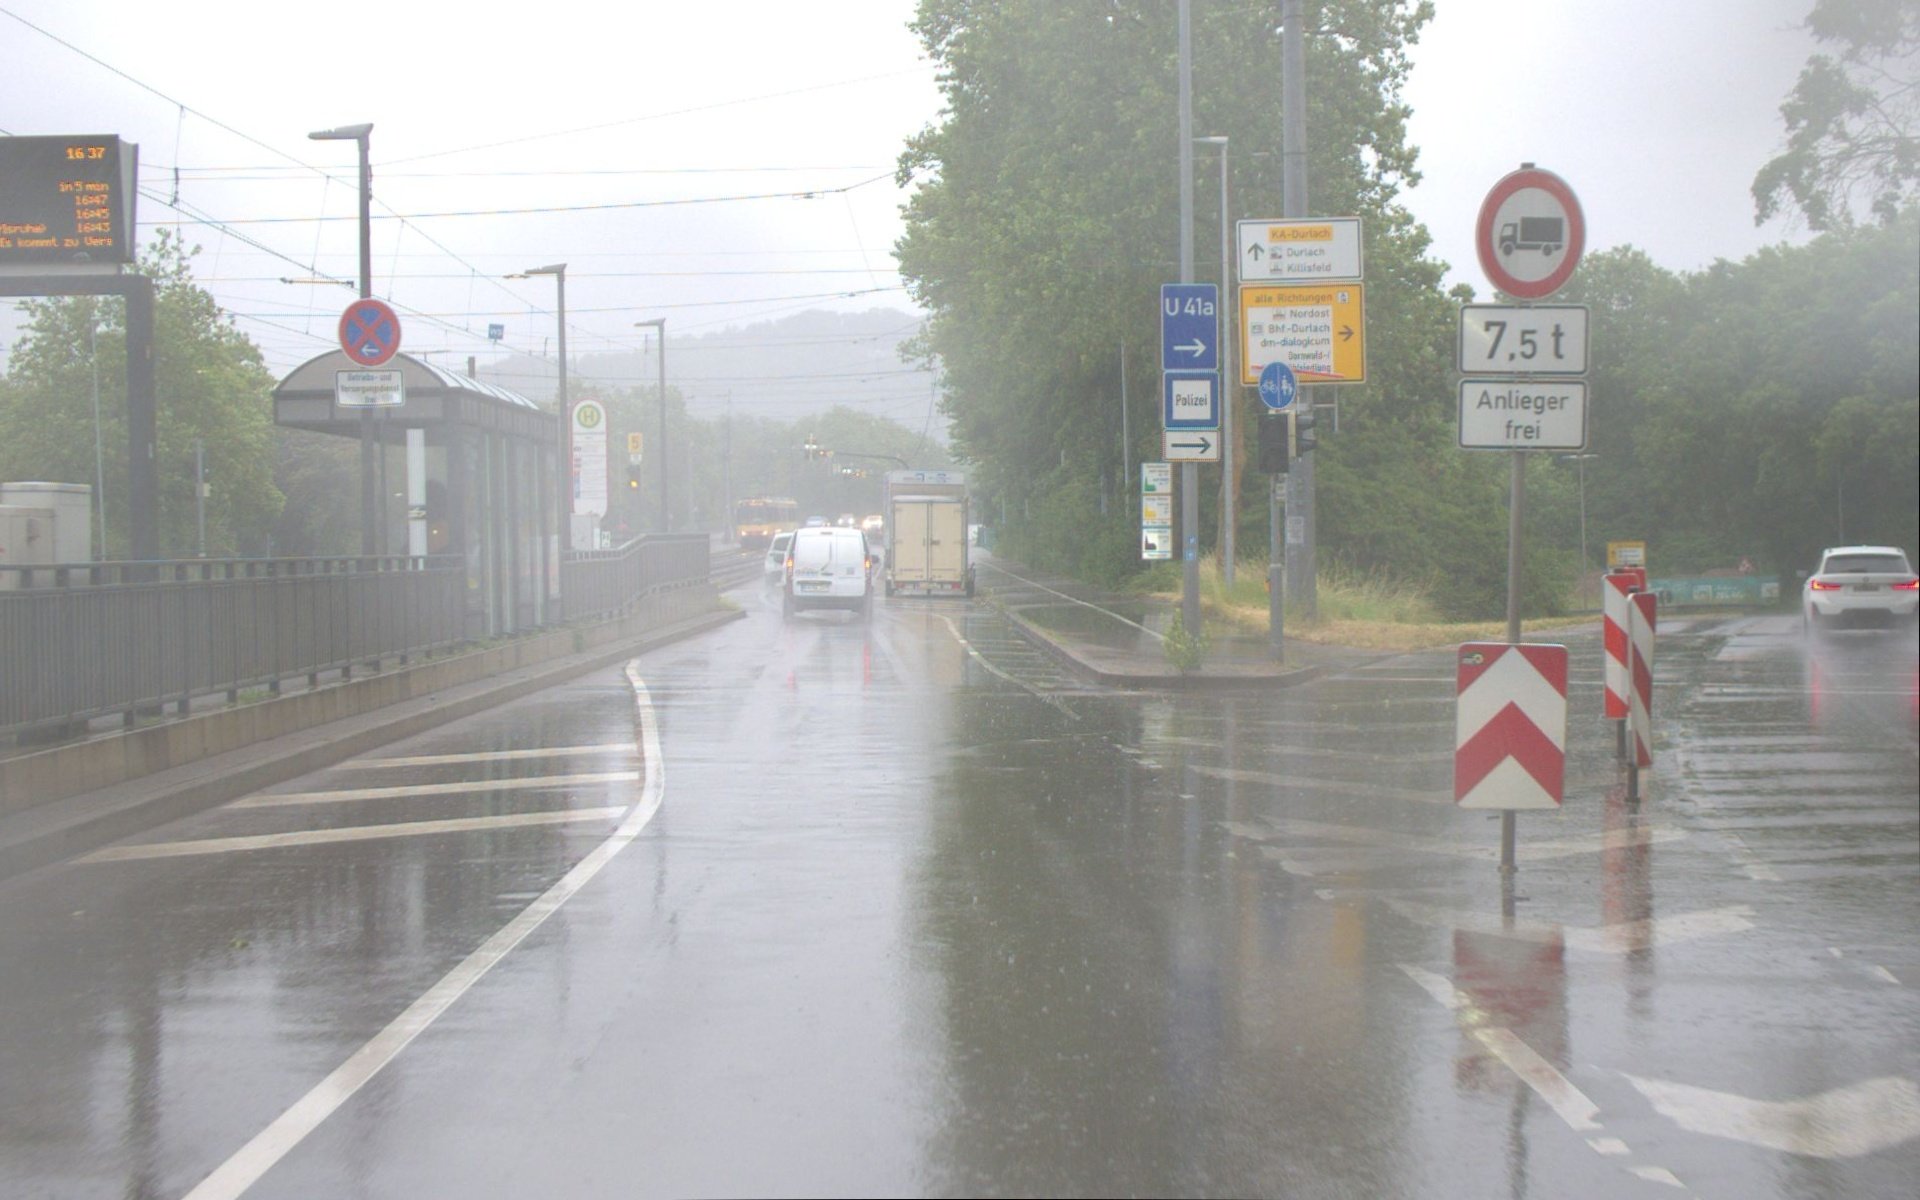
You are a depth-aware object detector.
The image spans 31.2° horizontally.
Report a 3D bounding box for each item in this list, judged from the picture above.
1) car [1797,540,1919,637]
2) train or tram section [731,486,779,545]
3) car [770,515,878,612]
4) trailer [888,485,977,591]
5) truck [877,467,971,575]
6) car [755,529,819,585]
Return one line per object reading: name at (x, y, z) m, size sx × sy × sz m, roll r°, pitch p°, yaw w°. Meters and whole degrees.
car at (14.092, -0.204, 53.555) m, size 1.889 × 1.426 × 3.998 m, roll 0°, pitch 1°, yaw 11°
train or tram section at (-14.717, -6.099, 247.905) m, size 2.806 × 4.135 × 13.020 m, roll 0°, pitch 1°, yaw -1°
car at (-2.733, -0.742, 68.167) m, size 1.993 × 1.842 × 4.001 m, roll 0°, pitch 1°, yaw -4°
trailer at (-0.696, -1.642, 91.803) m, size 2.166 × 2.748 × 5.676 m, roll 0°, pitch 1°, yaw 1°
truck at (-1.345, -2.761, 122.947) m, size 2.775 × 3.691 × 9.854 m, roll 0°, pitch 1°, yaw -4°
car at (-5.190, -1.291, 103.310) m, size 1.786 × 1.637 × 3.968 m, roll 0°, pitch 1°, yaw -1°
